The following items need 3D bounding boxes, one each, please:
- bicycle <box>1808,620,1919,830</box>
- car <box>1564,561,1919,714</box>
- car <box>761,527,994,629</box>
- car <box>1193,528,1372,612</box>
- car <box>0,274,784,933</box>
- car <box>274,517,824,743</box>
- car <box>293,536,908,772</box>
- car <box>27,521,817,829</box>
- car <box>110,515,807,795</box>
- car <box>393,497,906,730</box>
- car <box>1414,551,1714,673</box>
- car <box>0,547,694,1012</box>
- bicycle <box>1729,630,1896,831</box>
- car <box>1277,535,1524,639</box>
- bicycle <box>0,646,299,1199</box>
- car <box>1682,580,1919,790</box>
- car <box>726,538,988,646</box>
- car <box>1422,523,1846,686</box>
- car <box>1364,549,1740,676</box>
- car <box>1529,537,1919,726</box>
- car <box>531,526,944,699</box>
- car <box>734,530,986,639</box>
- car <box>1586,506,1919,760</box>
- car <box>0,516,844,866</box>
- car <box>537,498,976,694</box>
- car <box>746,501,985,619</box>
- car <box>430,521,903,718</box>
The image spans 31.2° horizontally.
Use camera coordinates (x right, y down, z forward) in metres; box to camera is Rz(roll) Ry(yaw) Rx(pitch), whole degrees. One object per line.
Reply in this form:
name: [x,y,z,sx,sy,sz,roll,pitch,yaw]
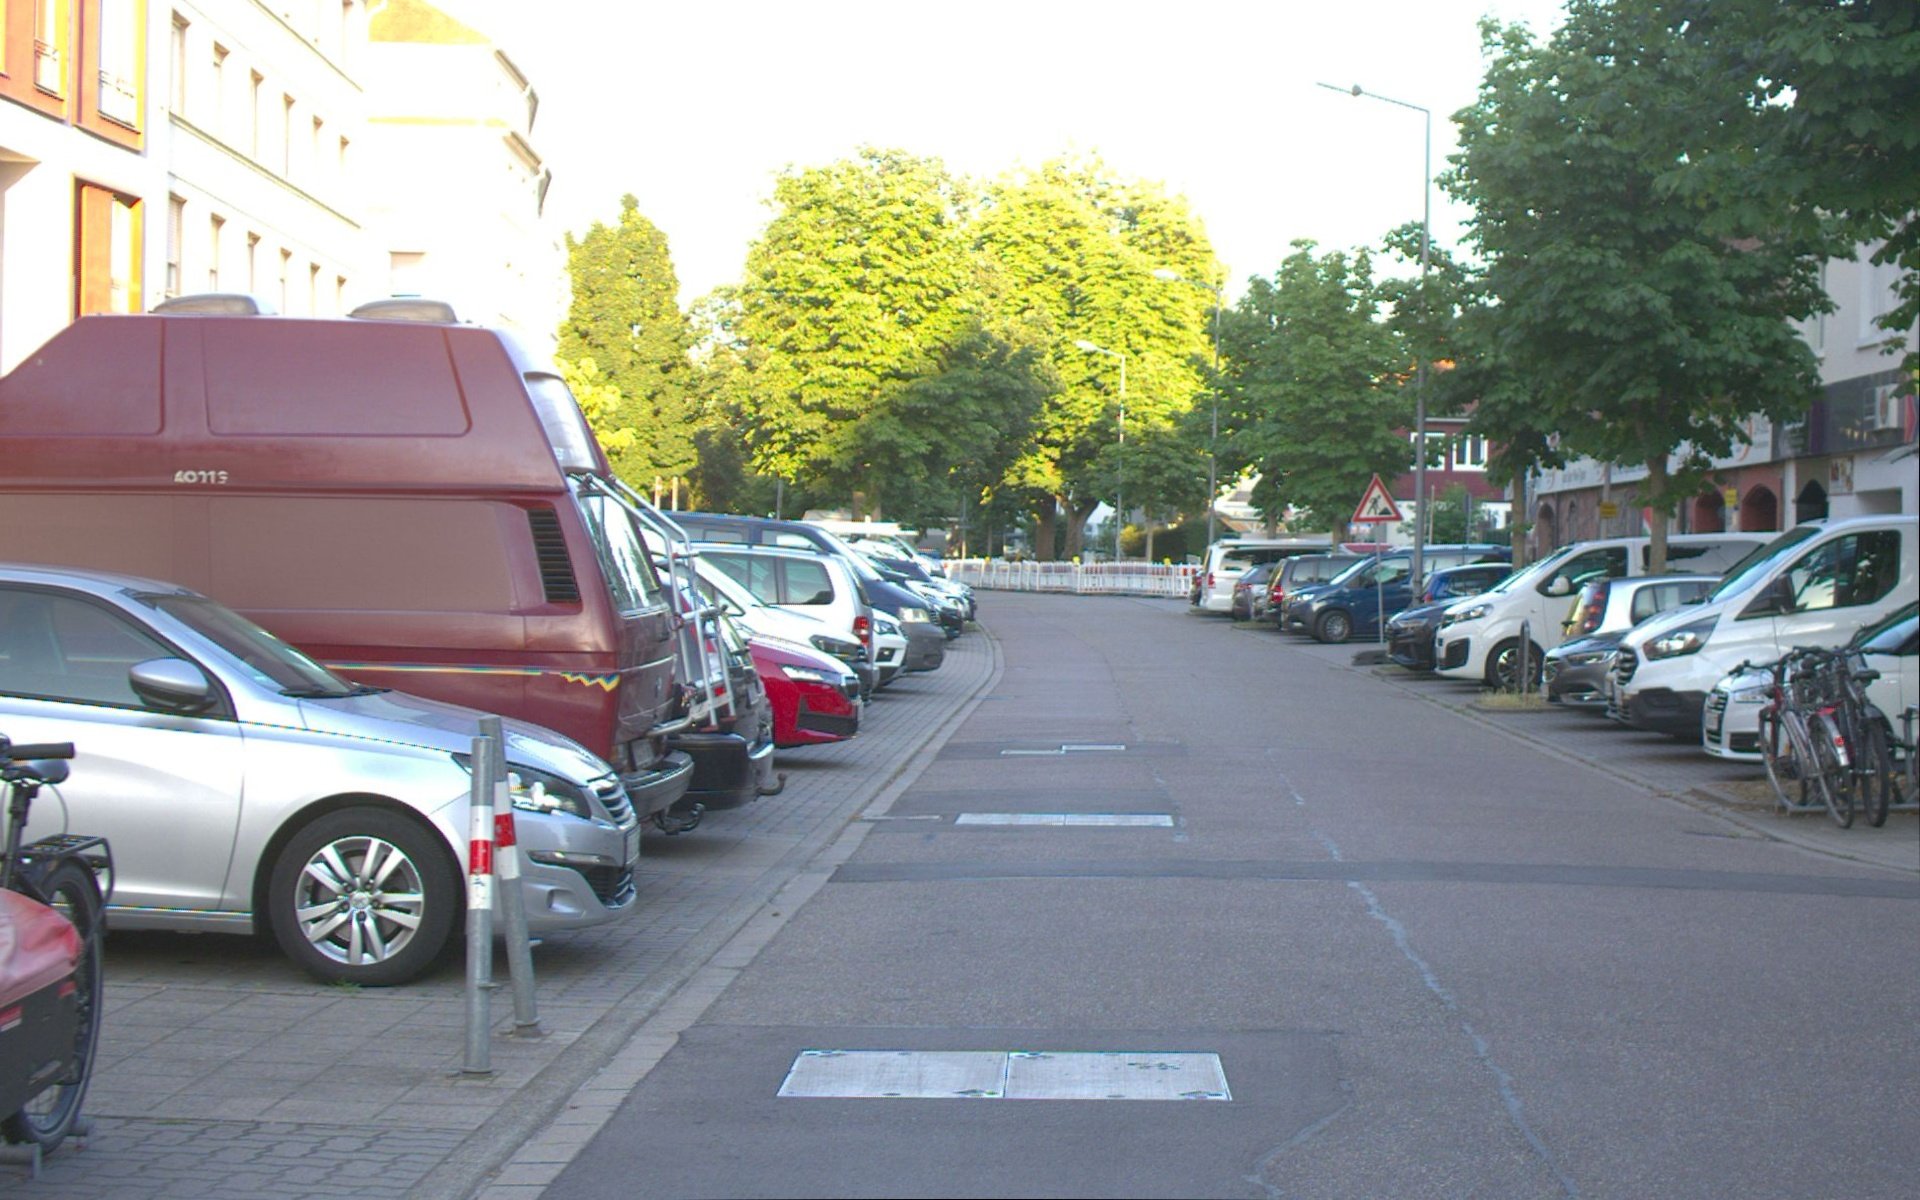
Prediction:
bicycle: [5.645,0.742,21.298,0.386,1.196,2.017,0,1,3]
car: [8.419,0.377,36.069,3.912,1.521,1.939,-1,1,4]
car: [-1.564,-0.438,66.070,4.257,1.743,2.000,3,1,3]
car: [7.612,-0.717,81.337,3.968,1.905,2.049,-1,1,-1]
car: [-3.205,-0.045,15.231,4.512,2.575,2.000,3,1,5]
car: [-3.327,0.221,28.426,4.209,1.610,2.000,3,1,1]
car: [-2.585,0.366,25.394,4.210,1.484,1.849,3,1,4]
car: [-3.123,0.402,20.376,4.211,1.533,1.841,3,1,9]
car: [-3.207,0.328,22.645,4.209,1.570,2.000,3,1,1]
car: [-2.721,0.097,30.830,4.257,1.830,2.000,3,1,3]
car: [9.286,0.174,53.077,4.317,1.798,1.811,-1,1,2]
car: [-3.384,0.554,12.612,4.615,1.455,1.881,3,1,0]
bicycle: [5.218,0.776,21.138,0.438,1.126,2.017,0,1,-2]
car: [8.403,-0.263,65.813,4.478,1.905,1.688,-1,1,-1]
bicycle: [-2.207,0.762,7.288,0.808,1.217,2.865,3,1,4]
car: [7.467,0.585,25.346,3.918,1.446,1.768,-1,1,1]
car: [-1.719,-0.155,58.555,4.257,1.616,2.000,3,1,2]
car: [8.424,0.043,43.303,4.944,1.951,2.049,-1,1,2]
car: [8.244,0.153,48.221,4.944,1.683,2.077,-1,1,2]
car: [8.126,0.279,33.344,4.944,1.736,2.049,-1,1,4]
car: [-2.387,0.118,37.650,4.257,1.646,1.888,3,1,3]
car: [-1.750,-0.284,61.302,4.257,1.709,2.000,3,1,3]
car: [7.784,0.232,28.114,4.990,1.976,2.219,-1,1,4]
car: [-2.788,0.428,17.784,4.209,1.533,1.791,3,1,1]
car: [-2.330,-0.060,40.205,4.851,2.014,1.906,3,1,3]
car: [-1.862,-0.801,68.725,4.534,2.127,2.000,3,1,3]
car: [-2.785,0.164,33.312,4.257,1.654,2.000,3,1,3]
